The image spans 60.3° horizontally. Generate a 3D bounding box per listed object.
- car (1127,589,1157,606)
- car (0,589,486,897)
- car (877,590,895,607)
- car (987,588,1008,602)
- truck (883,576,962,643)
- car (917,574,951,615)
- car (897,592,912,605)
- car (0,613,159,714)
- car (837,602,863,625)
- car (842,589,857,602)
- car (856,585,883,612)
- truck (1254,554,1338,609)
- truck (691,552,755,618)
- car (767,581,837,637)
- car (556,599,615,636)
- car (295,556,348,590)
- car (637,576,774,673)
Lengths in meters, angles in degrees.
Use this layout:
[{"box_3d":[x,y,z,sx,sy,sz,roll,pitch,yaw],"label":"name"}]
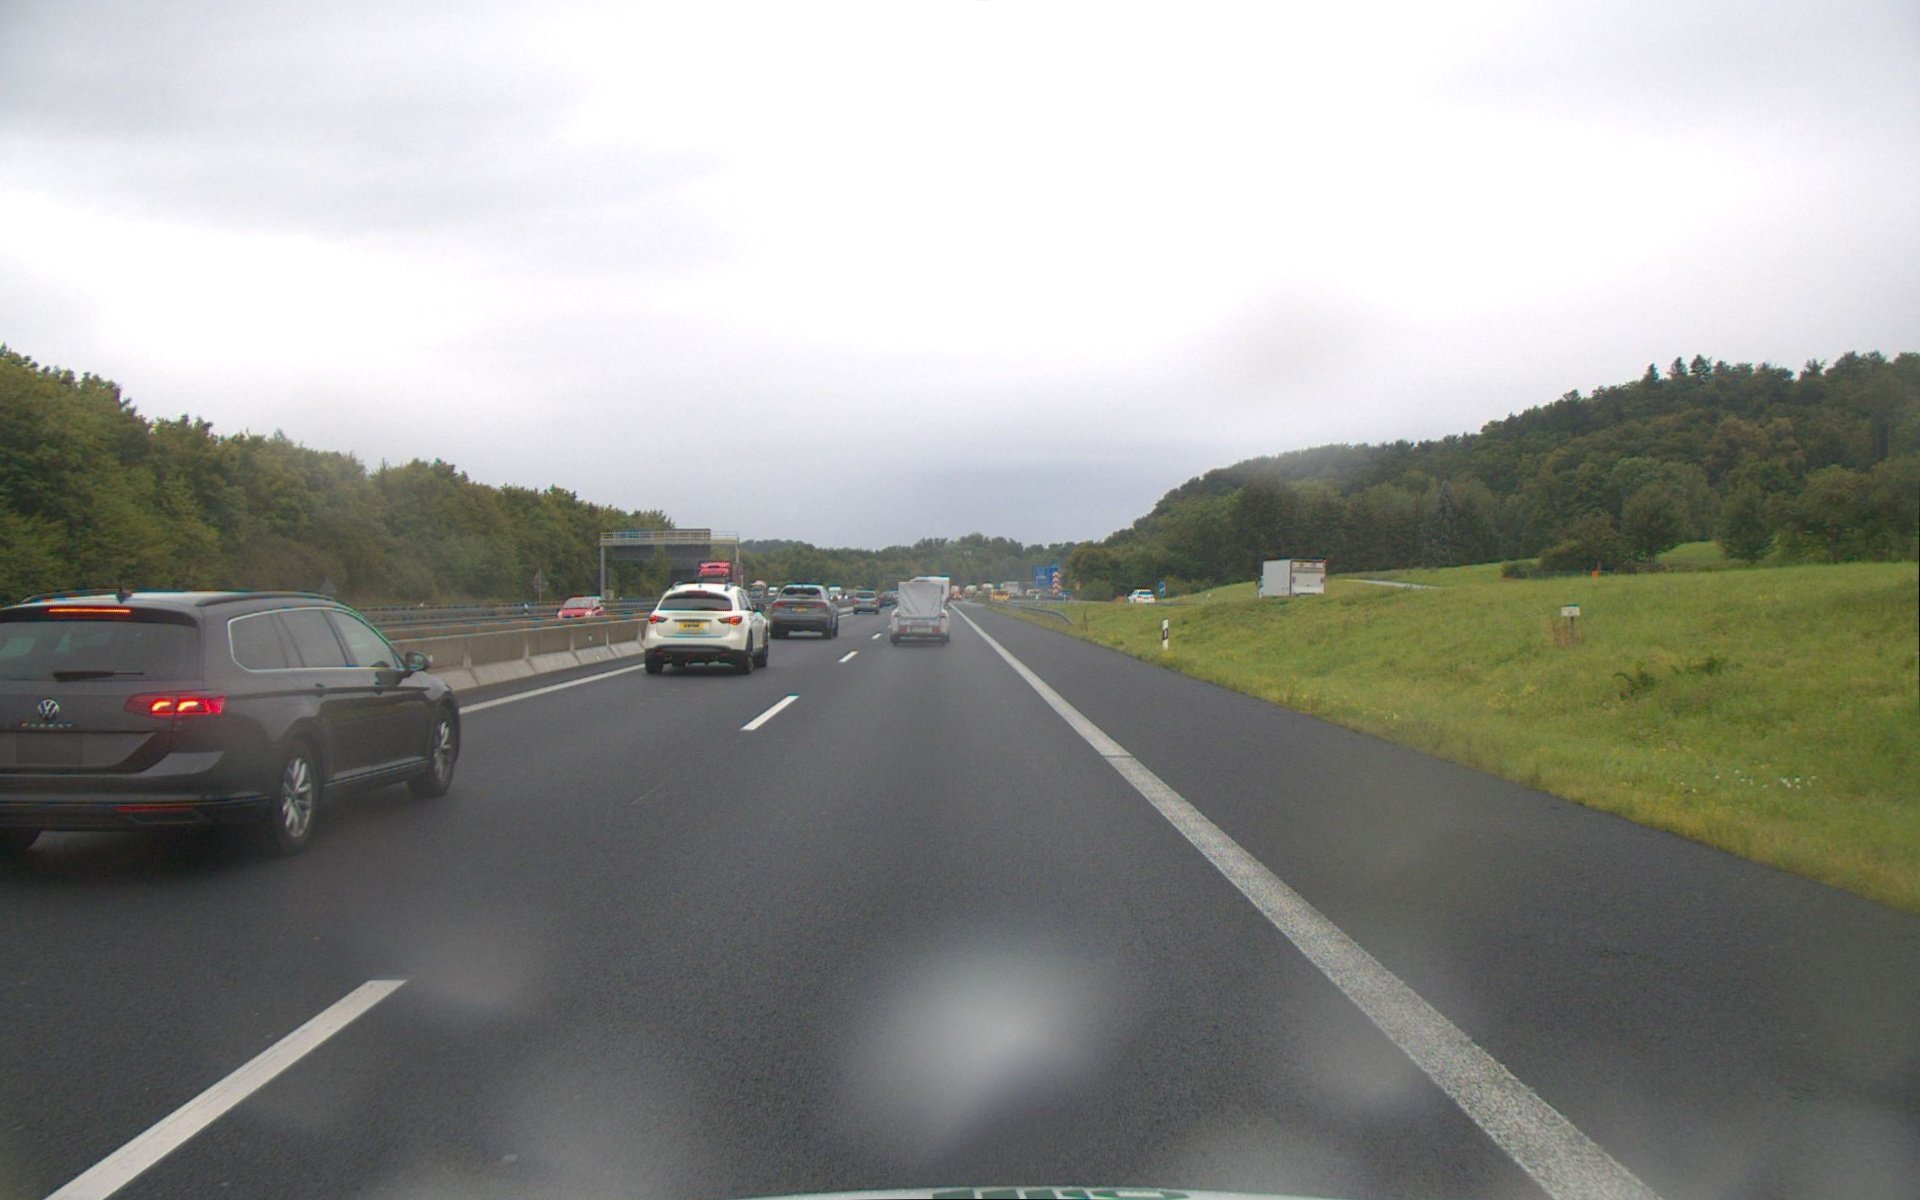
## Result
[{"box_3d":[17.006,-0.235,154.532,1.955,1.579,3.995,1,0,-6],"label":"car"},{"box_3d":[-4.547,0.687,10.442,1.751,1.484,4.802,1,0,0],"label":"car"},{"box_3d":[-7.160,-0.176,160.217,1.612,1.601,3.999,1,0,-1],"label":"car"},{"box_3d":[4.529,-0.586,199.908,1.955,1.579,3.995,1,0,-6],"label":"car"},{"box_3d":[-1.148,0.249,50.020,2.197,1.871,6.582,1,0,-2],"label":"truck"},{"box_3d":[-1.853,-0.405,114.932,2.284,2.773,6.538,0,0,-1],"label":"car"},{"box_3d":[-6.768,-0.162,202.060,1.612,1.601,3.999,1,0,-1],"label":"car"},{"box_3d":[-16.791,1.107,30.532,1.953,1.691,4.313,0,0,-1],"label":"car"},{"box_3d":[-8.592,1.038,129.374,1.782,1.691,4.016,0,0,-1],"label":"car"},{"box_3d":[-15.811,-0.645,236.962,1.953,1.868,4.677,1,0,-2],"label":"car"},{"box_3d":[-6.341,-0.092,115.831,1.703,1.825,3.999,1,0,-1],"label":"car"},{"box_3d":[24.056,-1.300,118.899,3.750,3.723,8.264,1,0,-5],"label":"truck"},{"box_3d":[-18.129,-1.136,127.170,3.330,4.816,10.485,1,0,0],"label":"truck"},{"box_3d":[-5.155,0.281,54.510,1.936,1.733,4.801,1,0,-1],"label":"car"},{"box_3d":[-16.998,0.774,75.239,1.689,1.580,4.581,1,0,-2],"label":"car"},{"box_3d":[-39.350,-1.638,101.967,1.714,2.049,4.000,0,0,0],"label":"car"},{"box_3d":[-4.788,0.432,31.719,2.007,1.699,4.540,1,0,-1],"label":"car"}]
